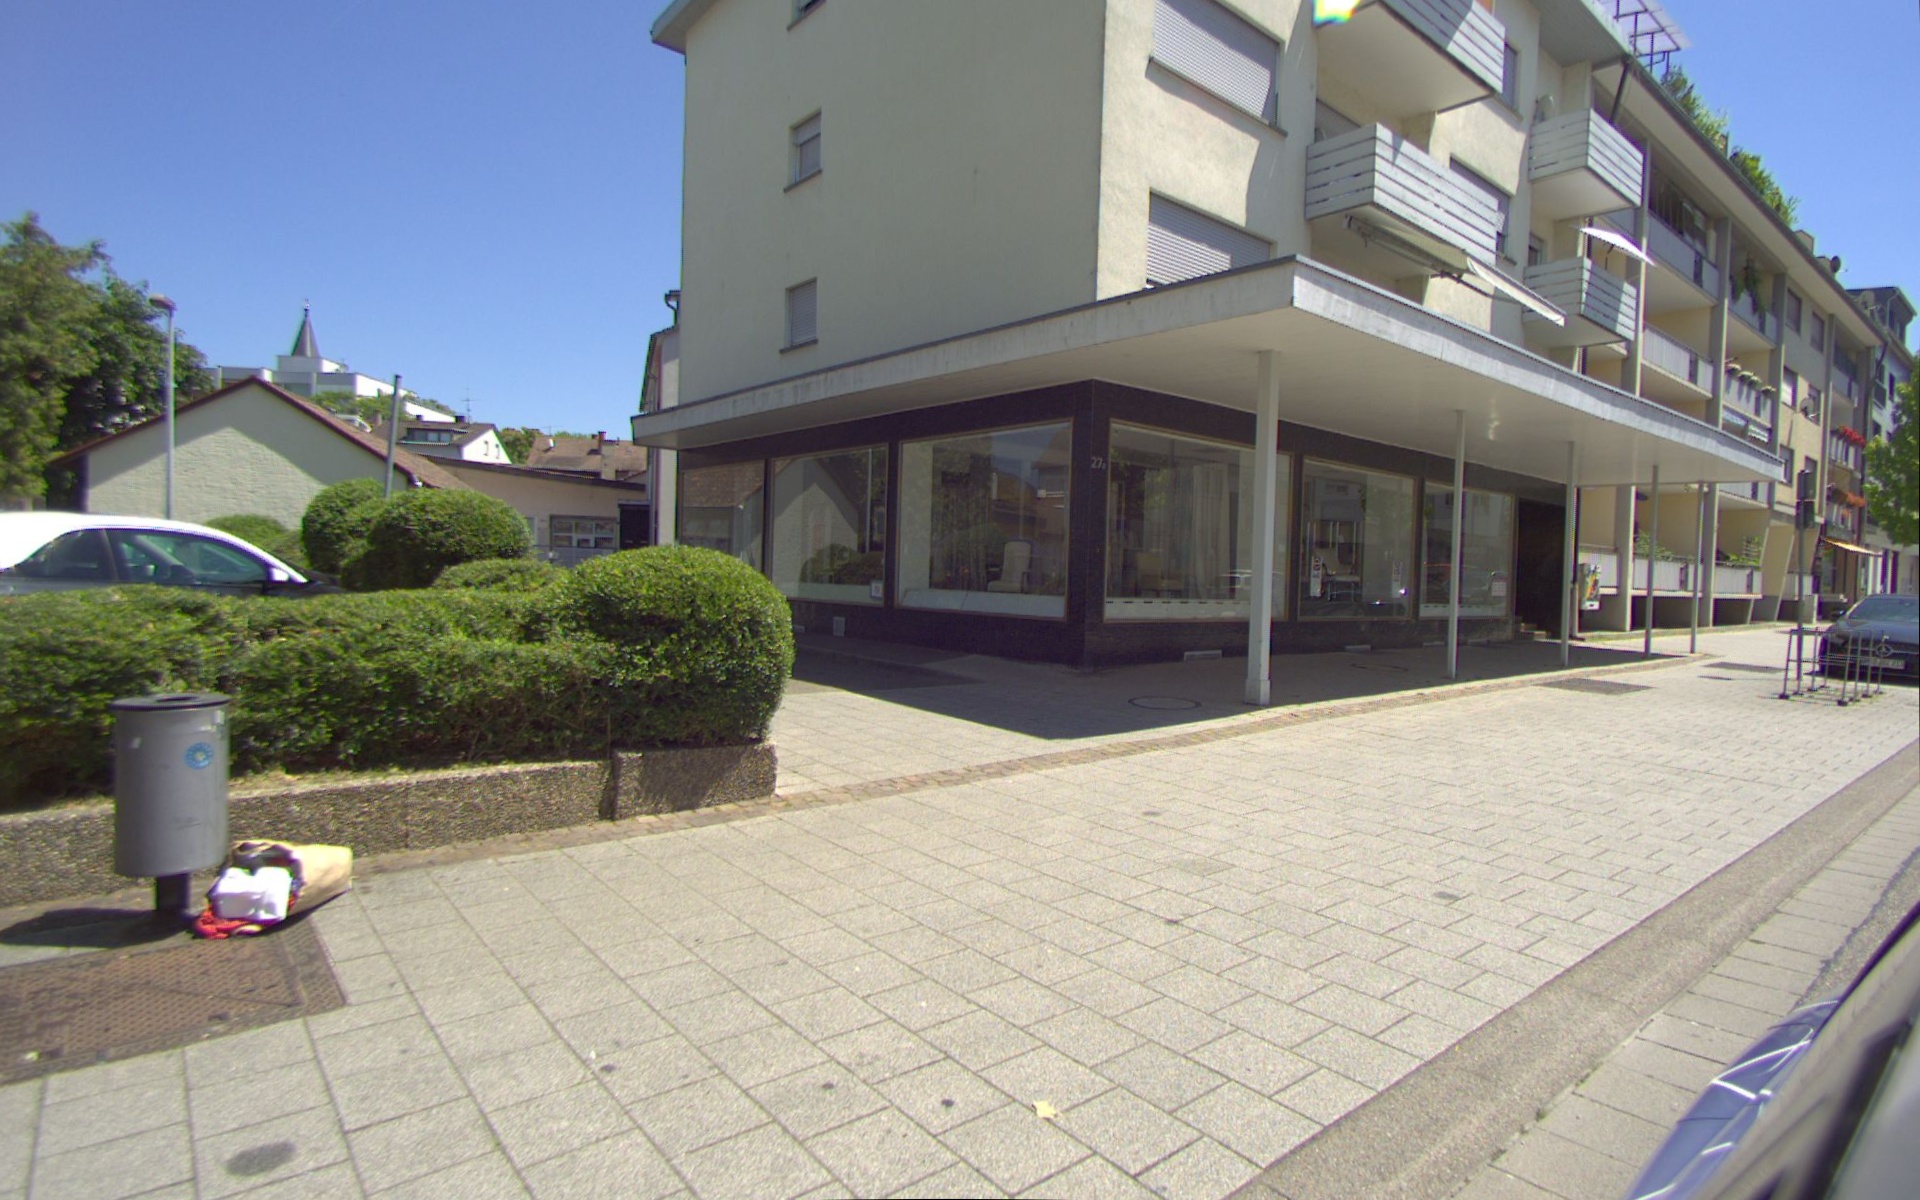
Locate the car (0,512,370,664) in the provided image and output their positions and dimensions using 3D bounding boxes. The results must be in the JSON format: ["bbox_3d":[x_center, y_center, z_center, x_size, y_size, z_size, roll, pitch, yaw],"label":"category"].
[{"bbox_3d":[-9.348,-0.182,12.115,1.724,1.518,3.590,1,2,31],"label":"car"}]

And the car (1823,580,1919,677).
[{"bbox_3d":[16.074,0.446,16.921,4.042,1.403,1.818,0,5,-41],"label":"car"}]

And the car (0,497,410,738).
[{"bbox_3d":[-6.403,0.038,7.934,1.715,1.518,3.442,2,2,19],"label":"car"}]

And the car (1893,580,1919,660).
[{"bbox_3d":[20.395,0.403,20.480,4.043,1.526,1.731,0,3,-41],"label":"car"}]
